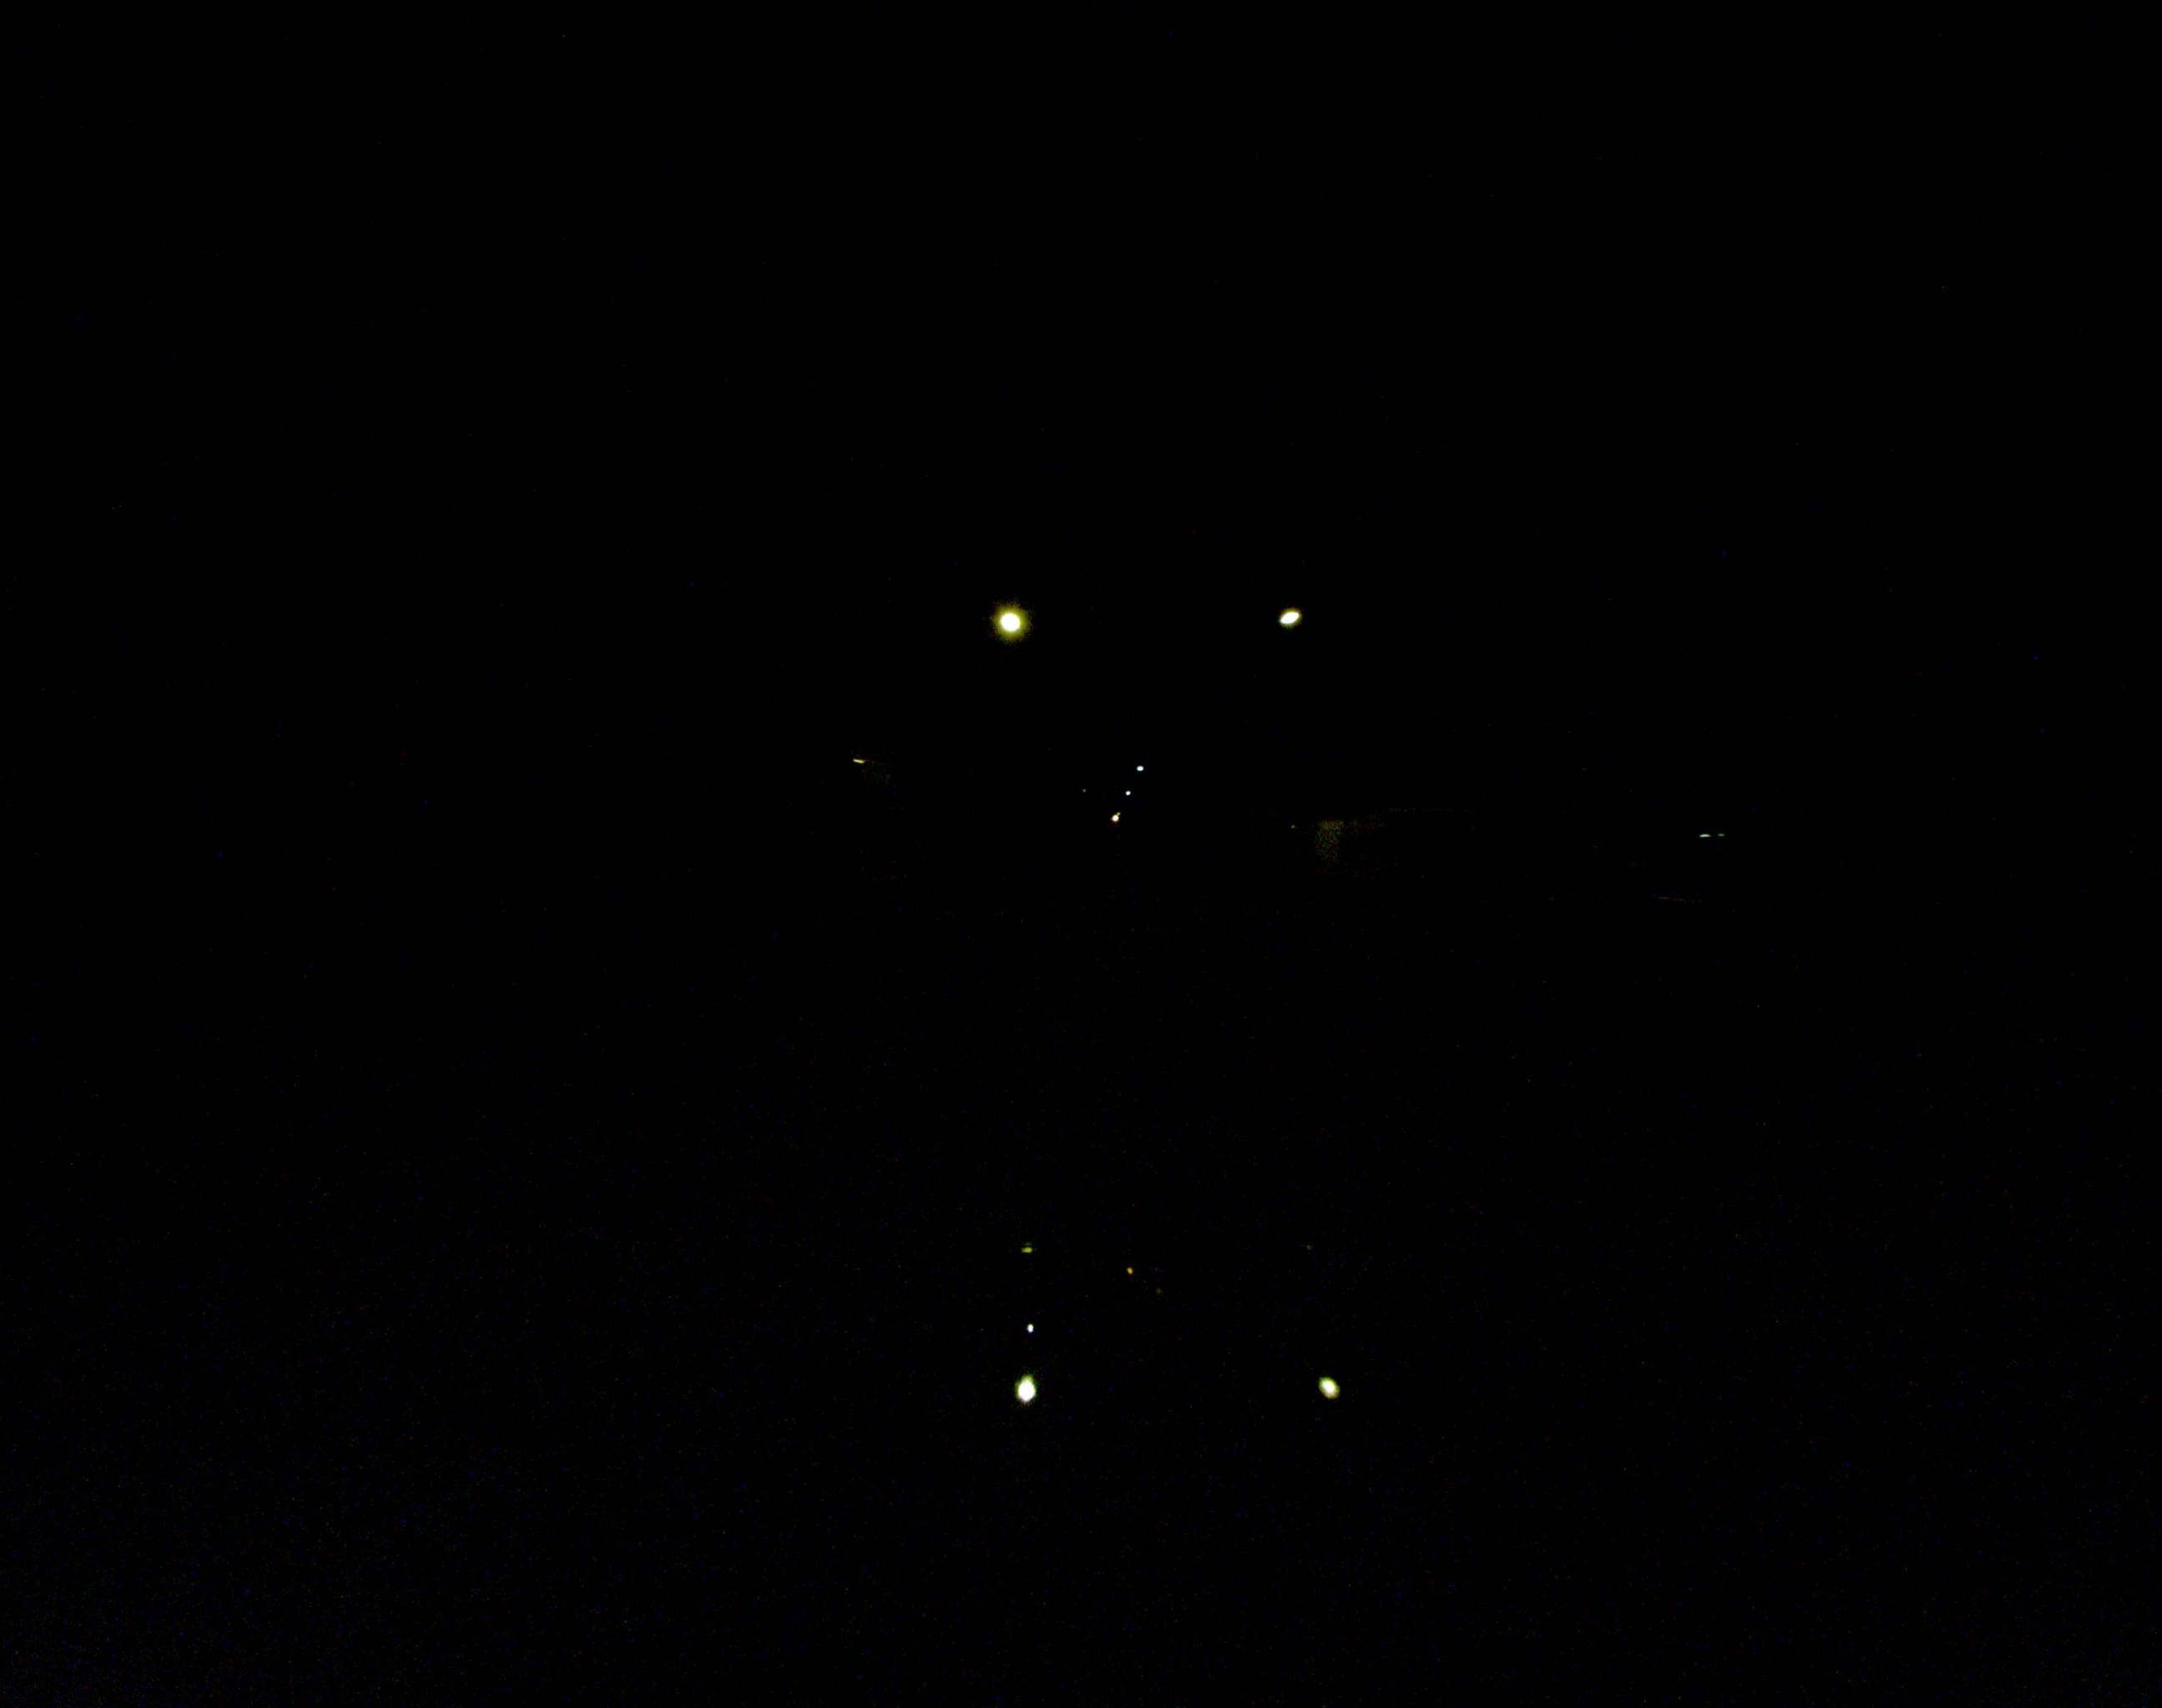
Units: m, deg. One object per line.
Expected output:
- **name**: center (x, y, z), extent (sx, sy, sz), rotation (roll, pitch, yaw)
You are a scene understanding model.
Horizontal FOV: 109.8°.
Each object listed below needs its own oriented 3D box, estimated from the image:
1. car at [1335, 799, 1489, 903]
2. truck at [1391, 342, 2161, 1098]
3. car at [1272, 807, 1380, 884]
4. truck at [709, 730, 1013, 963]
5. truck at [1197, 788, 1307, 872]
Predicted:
- **car**: center (8.288, -0.079, 19.574), extent (2.145, 2.299, 4.468), rotation (-2, 0, 3)
- **truck**: center (7.866, -0.880, 10.583), extent (2.644, 4.290, 12.824), rotation (0, 1, 4)
- **car**: center (8.705, -0.285, 27.596), extent (1.998, 2.429, 5.744), rotation (-2, 0, 0)
- **truck**: center (-4.273, -0.165, 19.007), extent (2.514, 3.815, 12.662), rotation (-2, 0, 6)
- **truck**: center (8.320, -1.085, 38.695), extent (2.829, 3.610, 10.398), rotation (-2, 0, -2)
